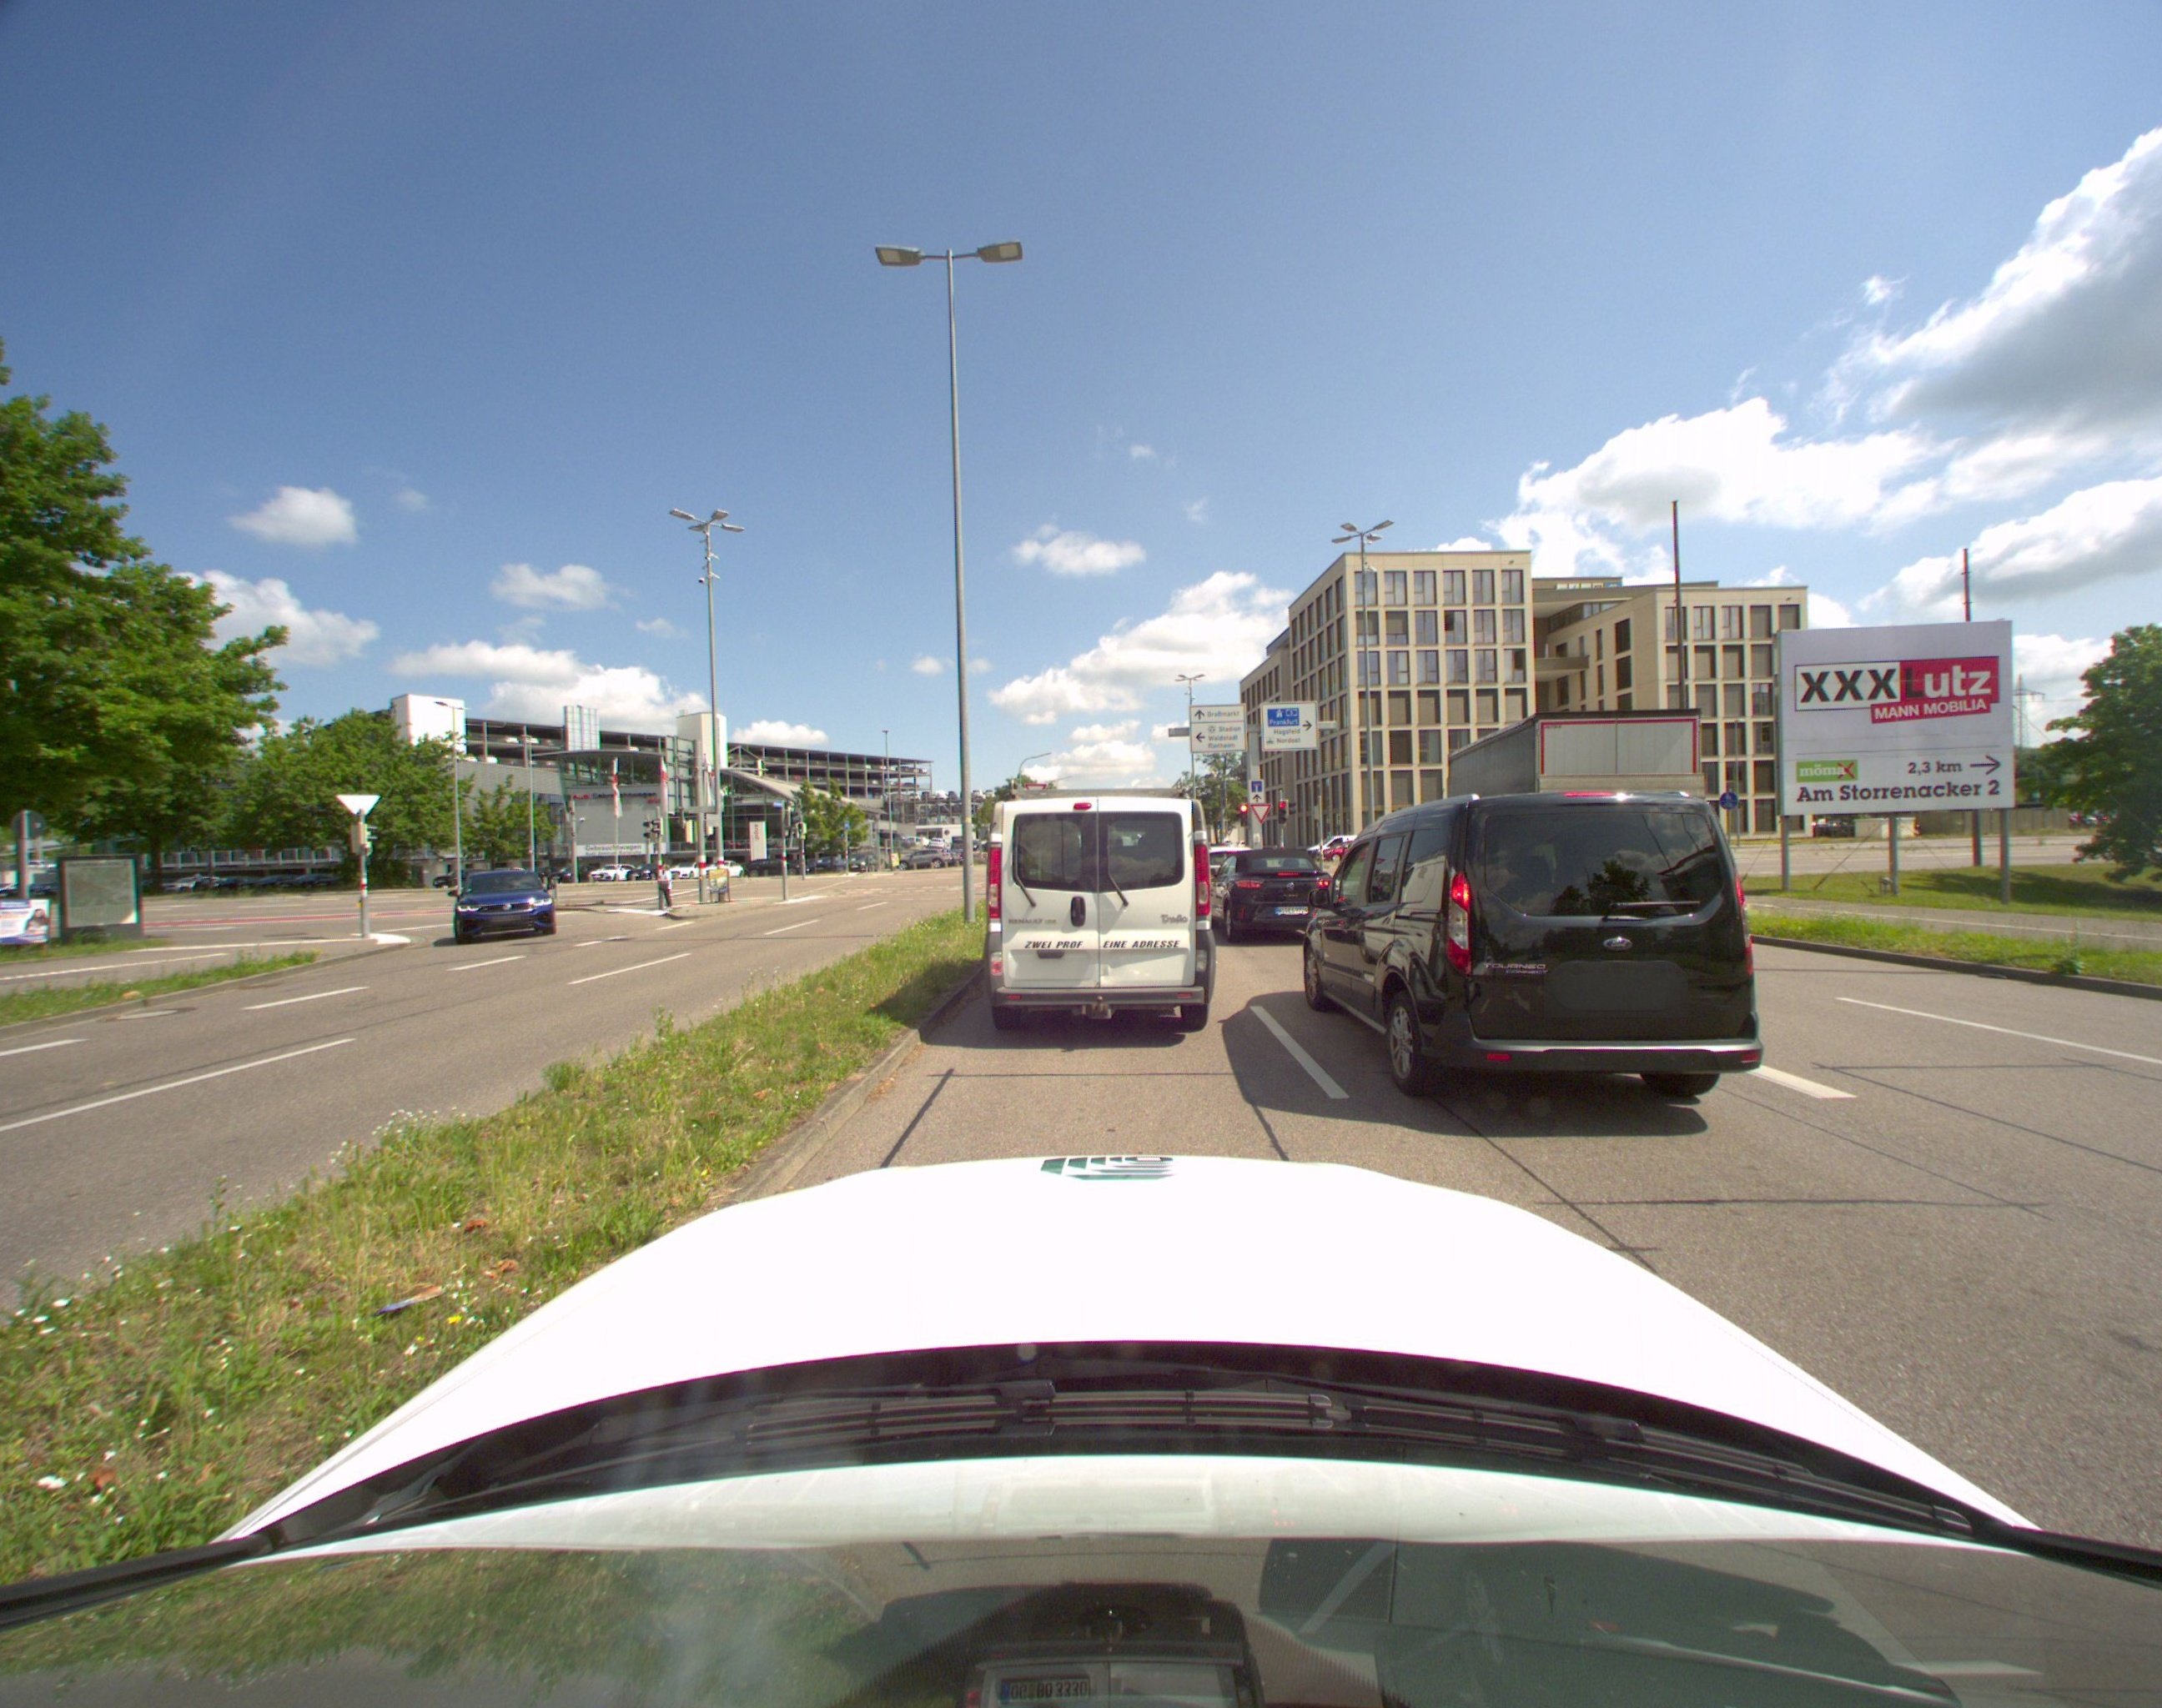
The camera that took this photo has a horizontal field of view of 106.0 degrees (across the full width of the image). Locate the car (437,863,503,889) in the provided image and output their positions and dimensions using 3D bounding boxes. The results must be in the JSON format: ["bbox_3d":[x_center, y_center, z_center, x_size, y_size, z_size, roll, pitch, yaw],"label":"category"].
[{"bbox_3d":[-42.951,1.522,57.348,1.810,1.664,3.790,-1,0,-2],"label":"car"}]

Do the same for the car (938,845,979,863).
[{"bbox_3d":[-12.841,0.006,85.510,3.903,1.712,1.687,-3,1,-3],"label":"car"}]

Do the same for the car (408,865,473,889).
[{"bbox_3d":[-45.927,1.601,58.467,1.833,1.487,3.697,-1,1,-3],"label":"car"}]

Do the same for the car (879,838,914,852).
[{"bbox_3d":[-24.011,-1.186,105.874,4.157,1.713,1.686,-1,0,-5],"label":"car"}]

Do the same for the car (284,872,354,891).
[{"bbox_3d":[-54.047,1.944,57.873,1.585,1.191,3.505,-1,0,2],"label":"car"}]

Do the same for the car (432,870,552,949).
[{"bbox_3d":[-13.859,1.237,19.279,2.009,1.509,3.956,-5,1,-35],"label":"car"}]

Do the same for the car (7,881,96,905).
[{"bbox_3d":[-71.079,2.675,56.304,1.585,1.390,3.505,-1,0,2],"label":"car"}]

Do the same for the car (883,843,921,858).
[{"bbox_3d":[-21.089,-0.397,96.153,4.157,1.713,1.686,-1,0,-5],"label":"car"}]

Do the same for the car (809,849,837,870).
[{"bbox_3d":[-19.502,0.404,61.741,1.820,1.552,3.979,-1,0,-15],"label":"car"}]

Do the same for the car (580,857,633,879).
[{"bbox_3d":[-35.193,1.037,60.527,1.875,1.486,3.697,-1,1,-3],"label":"car"}]

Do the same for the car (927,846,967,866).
[{"bbox_3d":[-12.650,0.196,77.107,3.499,1.712,1.602,-3,1,-3],"label":"car"}]

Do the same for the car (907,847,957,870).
[{"bbox_3d":[-12.650,0.390,69.223,3.903,1.713,1.687,-3,0,-3],"label":"car"}]

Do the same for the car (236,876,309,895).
[{"bbox_3d":[-56.844,2.201,57.344,1.585,1.191,3.505,-1,0,2],"label":"car"}]

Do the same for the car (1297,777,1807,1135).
[{"bbox_3d":[2.929,0.505,6.175,1.811,1.808,4.005,0,0,5],"label":"car"}]

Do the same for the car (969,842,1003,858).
[{"bbox_3d":[-11.442,-0.489,98.167,3.980,1.925,1.823,-1,0,-5],"label":"car"}]

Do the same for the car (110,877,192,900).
[{"bbox_3d":[-64.860,2.382,56.864,1.585,1.390,3.505,-1,0,2],"label":"car"}]

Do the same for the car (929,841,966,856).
[{"bbox_3d":[-15.977,-0.640,97.512,4.157,1.712,1.686,0,1,-5],"label":"car"}]

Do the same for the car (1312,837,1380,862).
[{"bbox_3d":[17.153,-0.288,52.851,3.881,1.490,1.795,-1,1,0],"label":"car"}]

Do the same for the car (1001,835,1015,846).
[{"bbox_3d":[-10.669,-1.942,119.157,1.842,1.530,3.996,-1,1,-3],"label":"car"}]

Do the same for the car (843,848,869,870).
[{"bbox_3d":[-17.018,0.346,61.743,1.820,1.552,3.979,-1,0,-15],"label":"car"}]

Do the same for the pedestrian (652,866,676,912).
[{"bbox_3d":[-13.979,1.149,27.277,0.465,1.512,0.515,-1,0,26],"label":"pedestrian"}]

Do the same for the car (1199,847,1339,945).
[{"bbox_3d":[3.172,0.641,14.495,1.733,1.495,4.002,-1,0,2],"label":"car"}]

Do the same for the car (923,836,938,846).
[{"bbox_3d":[-25.554,-2.225,138.484,1.842,1.530,3.996,-1,1,-3],"label":"car"}]

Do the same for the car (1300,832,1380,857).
[{"bbox_3d":[18.080,-0.701,57.028,4.968,1.607,1.999,-1,1,-2],"label":"car"}]

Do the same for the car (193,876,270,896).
[{"bbox_3d":[-59.563,2.243,57.176,1.585,1.191,3.505,-1,0,2],"label":"car"}]

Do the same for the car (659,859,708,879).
[{"bbox_3d":[-29.798,1.098,61.126,1.902,1.376,3.749,-1,1,-2],"label":"car"}]

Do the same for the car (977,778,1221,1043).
[{"bbox_3d":[0.265,0.433,8.240,1.848,2.018,4.004,-1,0,4],"label":"car"}]

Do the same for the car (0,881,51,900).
[{"bbox_3d":[-78.152,2.688,59.009,1.791,1.254,4.002,-1,1,2],"label":"car"}]

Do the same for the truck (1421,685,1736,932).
[{"bbox_3d":[9.898,-0.798,17.659,3.108,3.940,8.890,-1,1,13],"label":"truck"}]

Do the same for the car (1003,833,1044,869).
[{"bbox_3d":[-3.910,-0.243,56.331,1.962,2.256,4.987,-3,1,5],"label":"car"}]

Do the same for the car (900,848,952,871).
[{"bbox_3d":[-12.697,0.441,66.718,3.852,1.639,1.856,-3,1,-3],"label":"car"}]

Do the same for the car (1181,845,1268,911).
[{"bbox_3d":[3.637,0.562,21.277,1.733,1.543,4.002,-1,0,2],"label":"car"}]

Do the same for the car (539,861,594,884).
[{"bbox_3d":[-38.042,1.328,60.306,1.723,1.486,3.698,-1,1,-2],"label":"car"}]

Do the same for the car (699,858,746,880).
[{"bbox_3d":[-26.919,1.102,61.268,1.771,1.450,4.027,-1,1,-2],"label":"car"}]

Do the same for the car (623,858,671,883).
[{"bbox_3d":[-32.362,1.194,60.832,1.752,1.660,3.614,-1,1,-3],"label":"car"}]

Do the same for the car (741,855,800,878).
[{"bbox_3d":[-23.161,0.920,60.818,3.784,1.513,1.677,-1,1,-4],"label":"car"}]

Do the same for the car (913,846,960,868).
[{"bbox_3d":[-13.063,0.283,73.778,3.903,1.712,1.687,-3,1,-3],"label":"car"}]

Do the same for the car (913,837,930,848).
[{"bbox_3d":[-23.470,-1.675,120.250,1.842,1.530,3.996,-1,1,-3],"label":"car"}]
